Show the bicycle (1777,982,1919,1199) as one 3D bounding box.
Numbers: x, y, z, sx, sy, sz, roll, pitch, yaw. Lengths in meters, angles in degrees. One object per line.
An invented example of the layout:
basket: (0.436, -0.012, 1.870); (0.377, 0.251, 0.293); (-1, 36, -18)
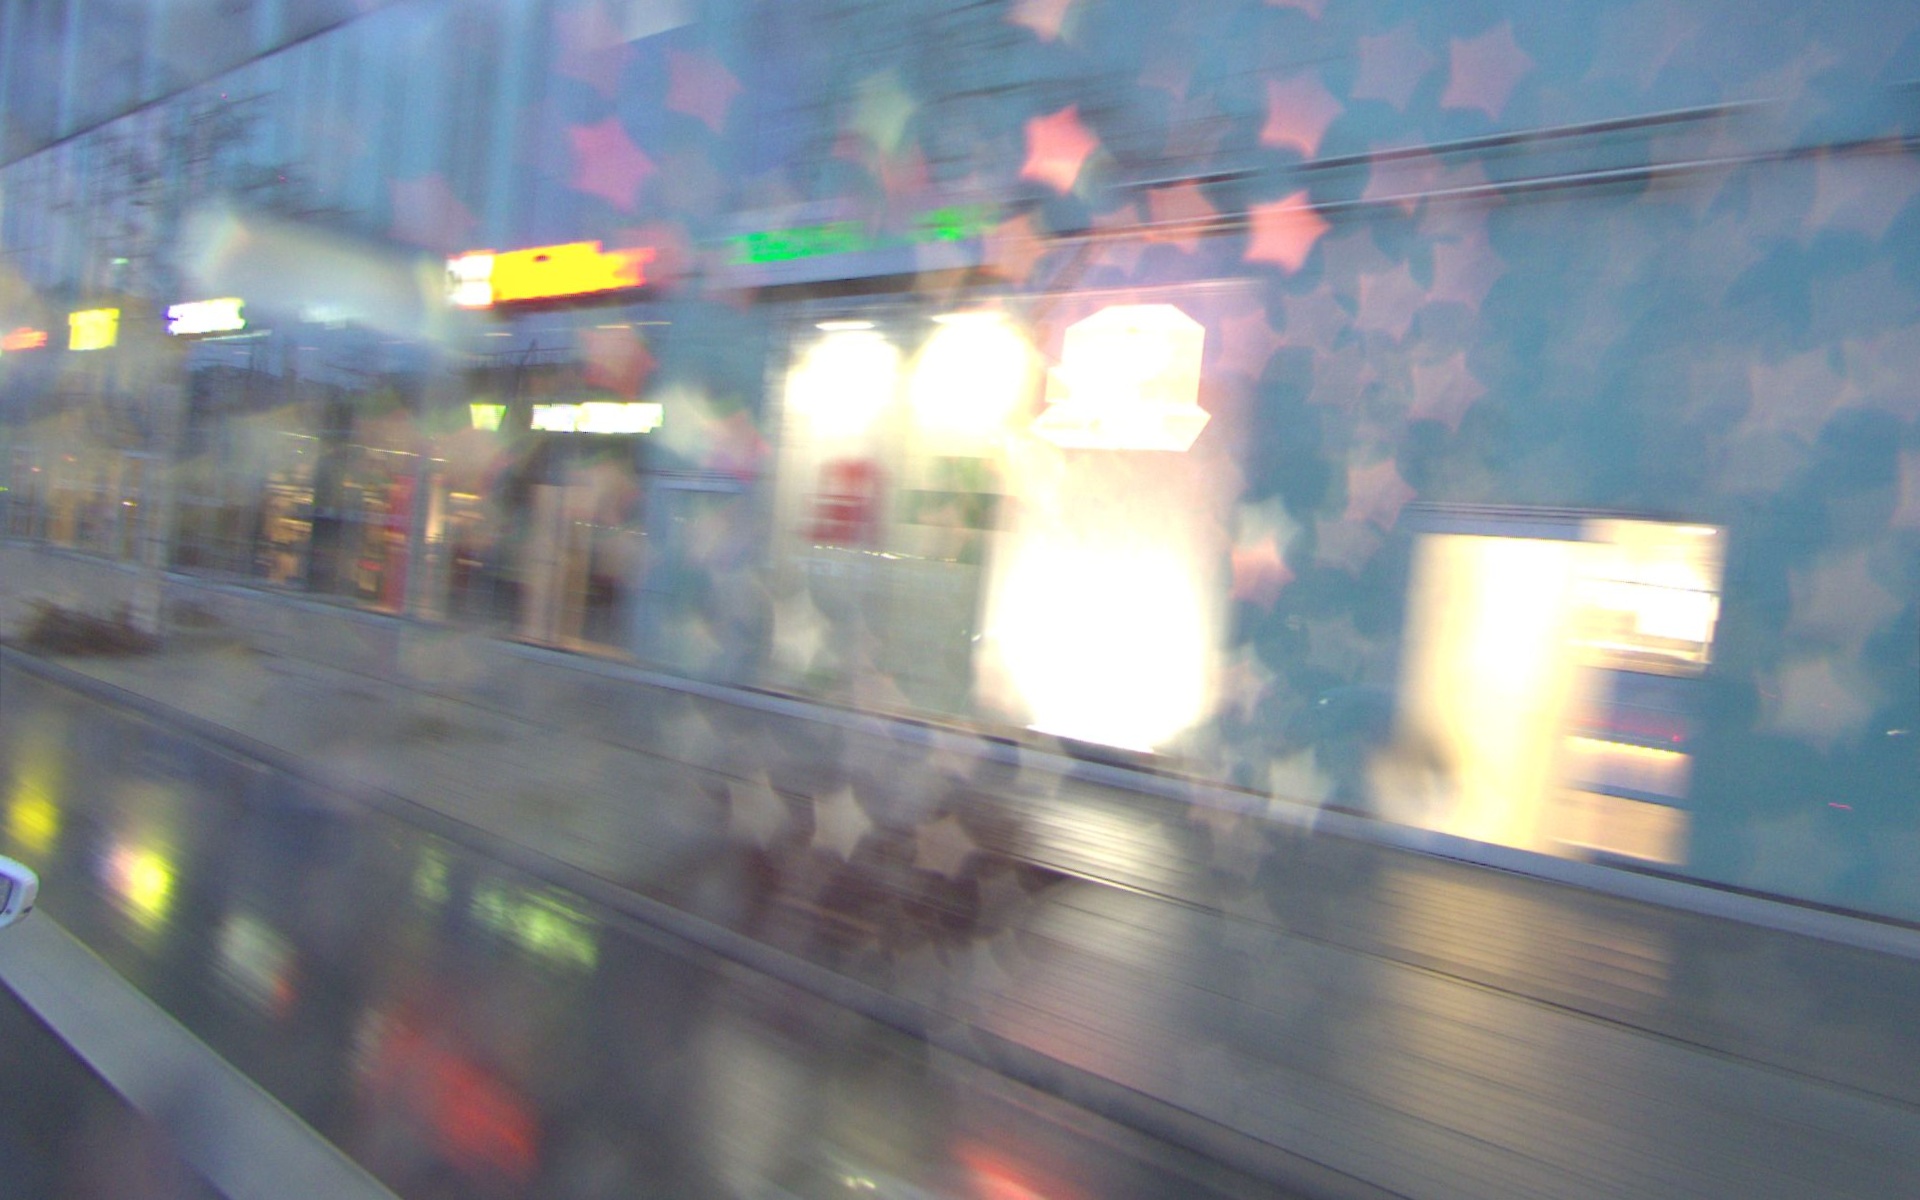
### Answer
bicycle: (2.140, 1.290, 0.873); (2.206, 1.011, 0.943); (7, 0, 38)
